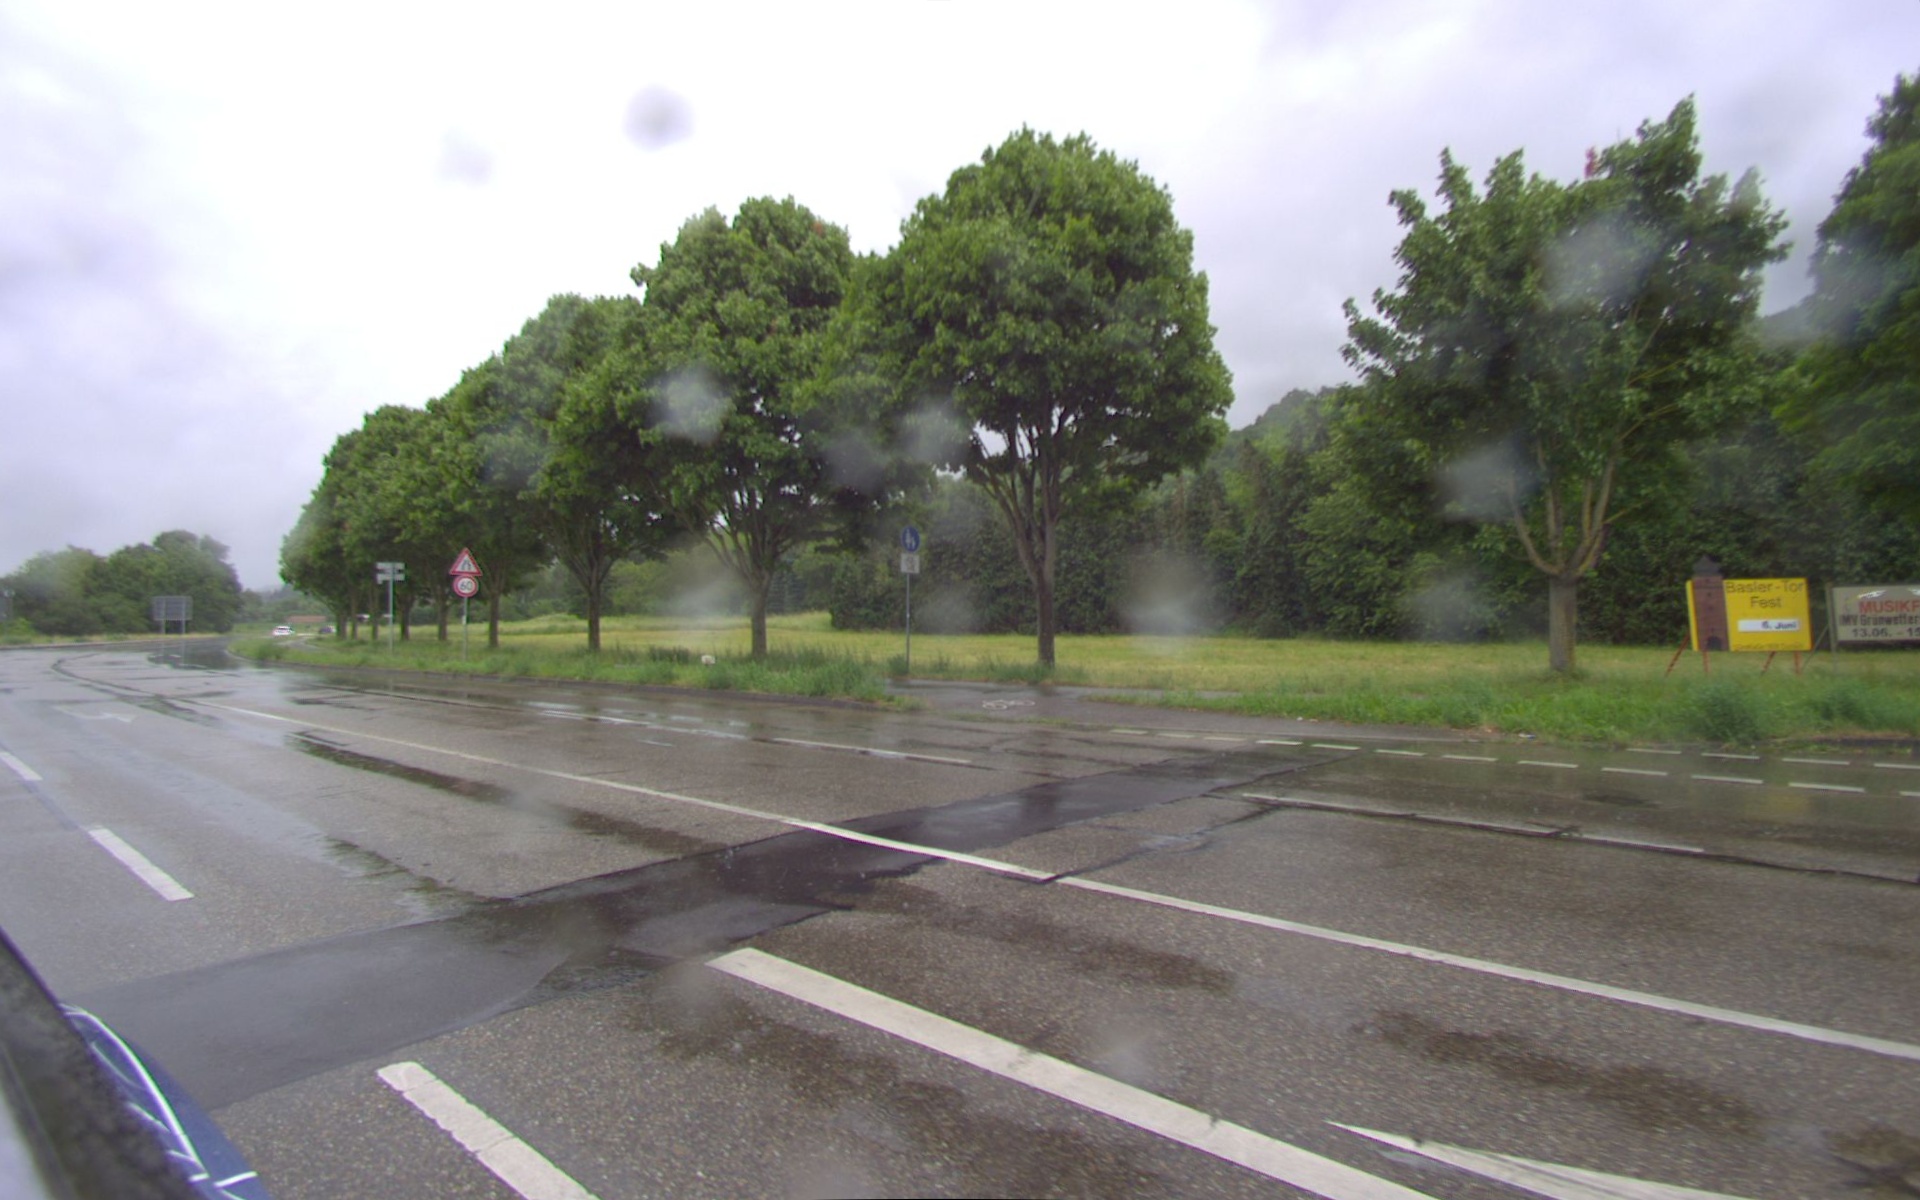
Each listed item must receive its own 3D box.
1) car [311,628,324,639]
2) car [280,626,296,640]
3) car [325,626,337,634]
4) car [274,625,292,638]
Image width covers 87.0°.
[{"bbox_3d":[-106.897,5.558,168.333,1.859,1.599,4.130,-2,0,-33],"label":"car"},{"bbox_3d":[-100.152,4.963,150.786,1.715,2.006,4.022,2,-3,-31],"label":"car"},{"bbox_3d":[-114.012,5.431,183.471,1.715,1.498,4.021,2,-3,-33],"label":"car"},{"bbox_3d":[-86.551,4.004,129.368,1.853,1.585,4.656,2,-3,-34],"label":"car"}]
